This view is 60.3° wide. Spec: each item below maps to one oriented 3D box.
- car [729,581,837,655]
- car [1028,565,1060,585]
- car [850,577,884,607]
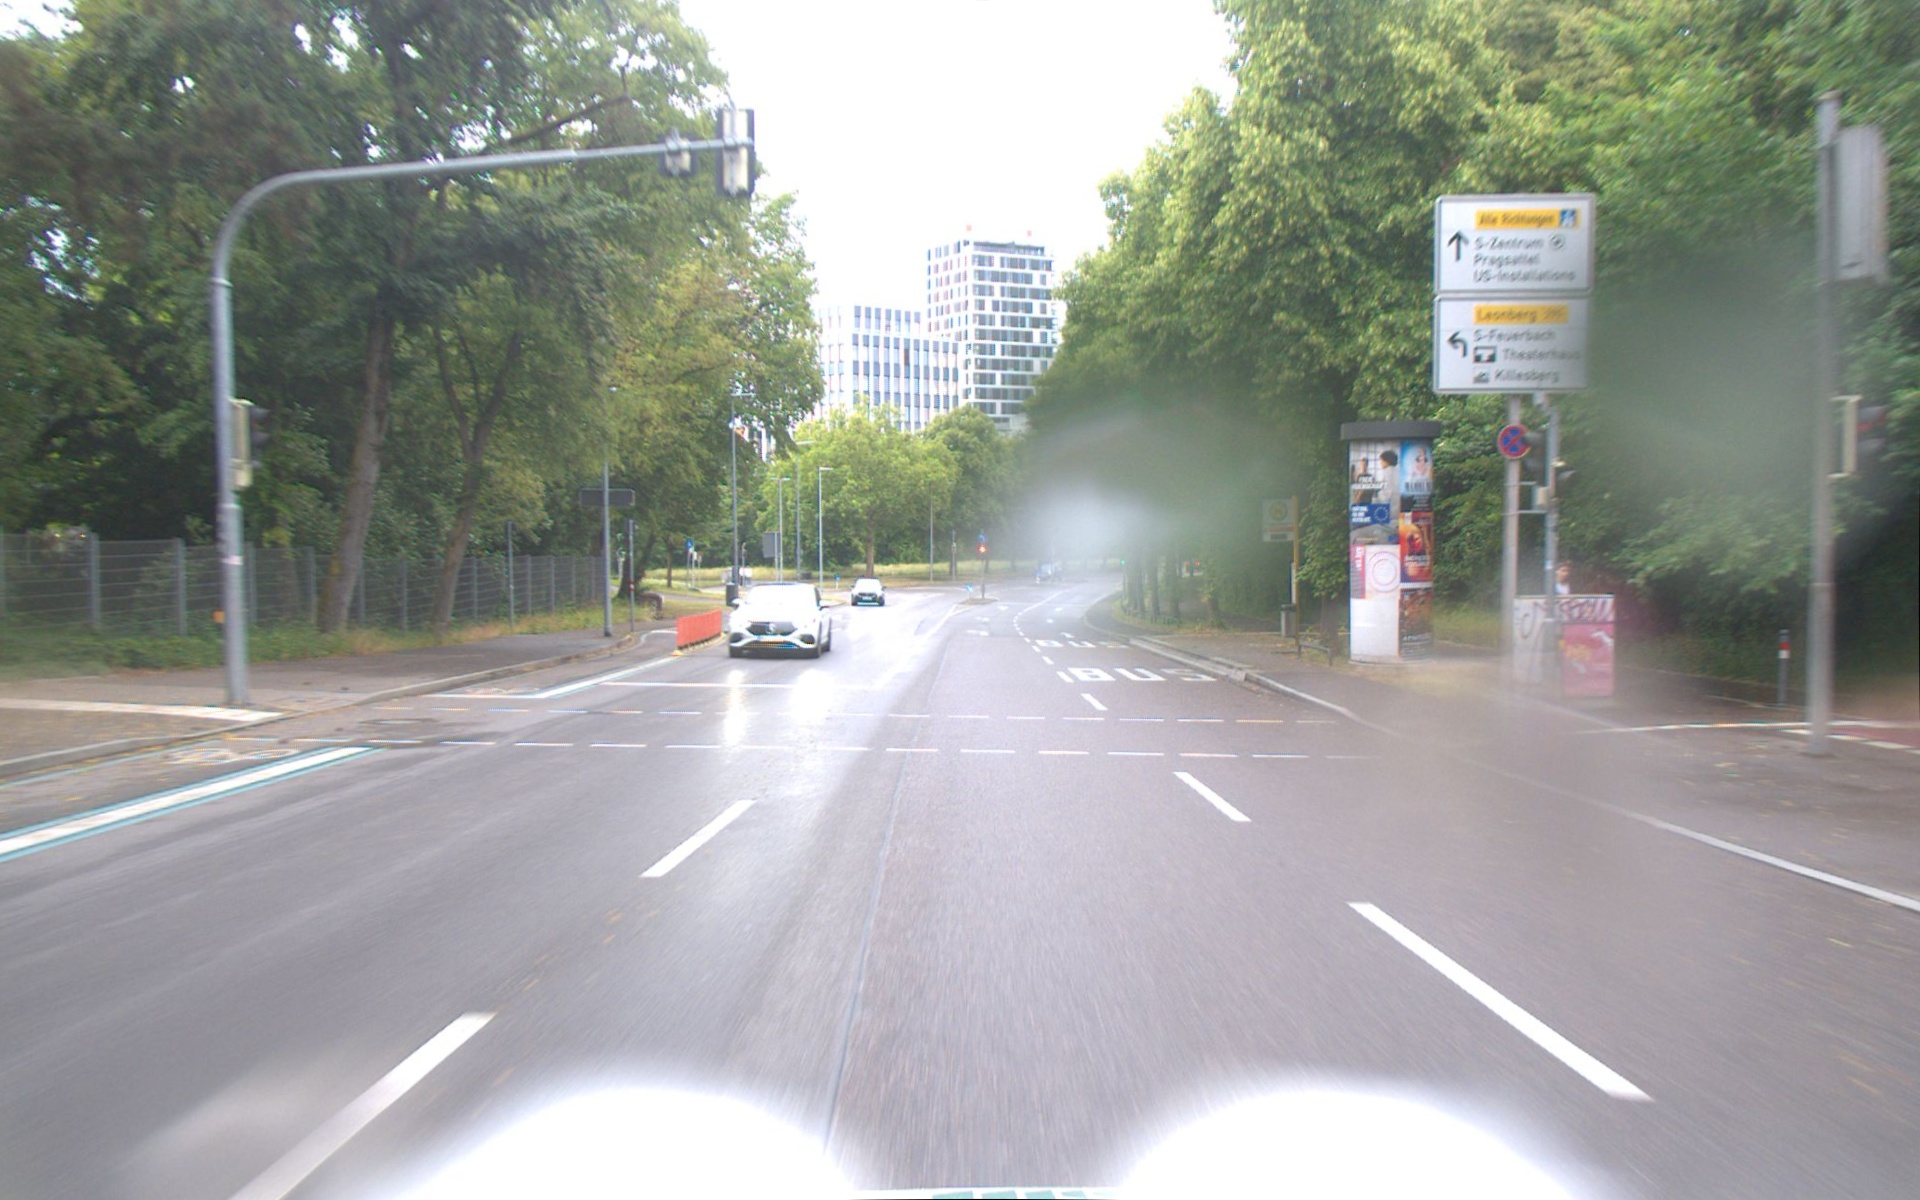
[{"bbox_3d":[-3.721,0.337,35.438,1.805,1.482,4.500,0,1,0],"label":"car"},{"bbox_3d":[7.569,-2.244,148.817,1.951,1.715,4.003,0,0,16],"label":"car"},{"bbox_3d":[-5.164,-0.467,92.314,1.569,1.467,4.001,2,2,0],"label":"car"}]
